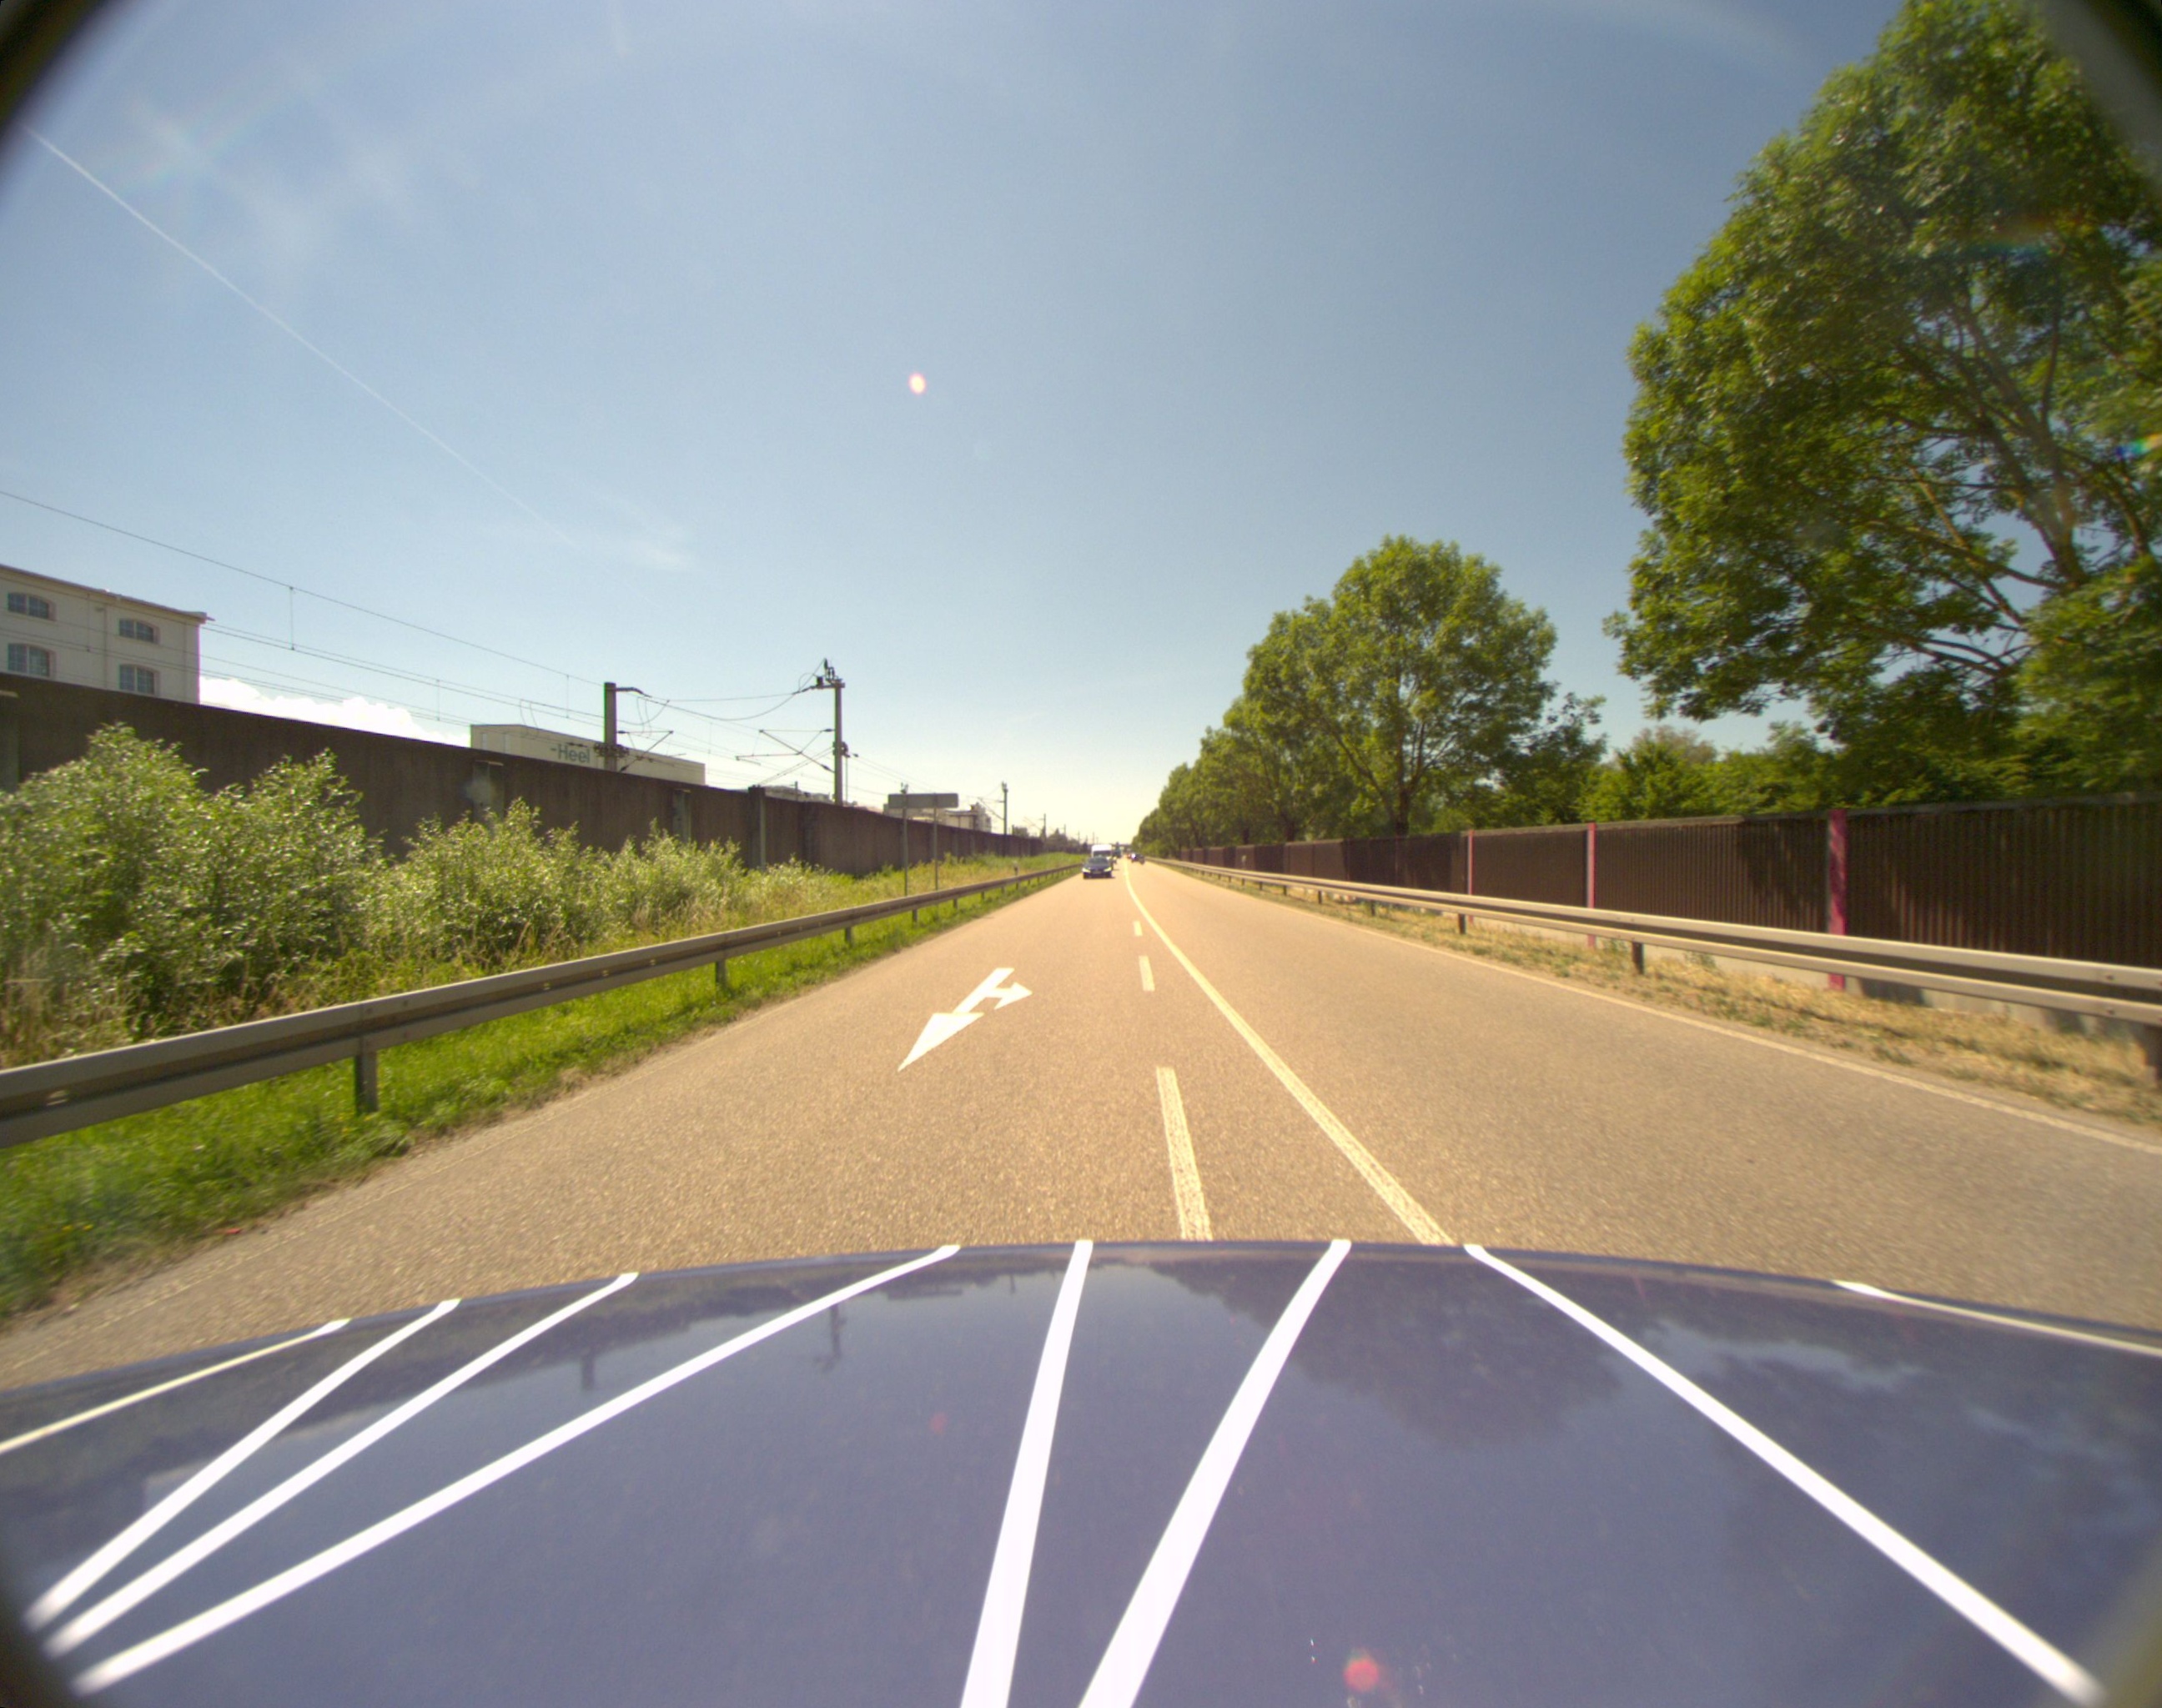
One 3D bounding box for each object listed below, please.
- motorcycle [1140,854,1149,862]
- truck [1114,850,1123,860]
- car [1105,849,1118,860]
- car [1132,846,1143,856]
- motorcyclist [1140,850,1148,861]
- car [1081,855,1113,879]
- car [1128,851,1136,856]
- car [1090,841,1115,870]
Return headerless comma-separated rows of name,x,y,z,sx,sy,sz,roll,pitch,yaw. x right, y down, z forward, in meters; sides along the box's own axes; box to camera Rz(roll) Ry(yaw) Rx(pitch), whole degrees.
motorcycle,8.521,0.562,102.072,0.951,1.023,2.385,-2,0,2
truck,11.831,0.236,239.925,2.616,3.024,10.656,-1,1,2
car,4.649,0.034,115.883,1.822,1.555,4.278,-1,0,1
car,9.265,-0.491,125.106,1.757,1.499,4.529,-2,0,3
motorcyclist,8.519,0.185,102.071,0.951,1.536,1.214,-2,1,2
car,1.086,0.782,48.736,1.861,1.371,4.504,-2,0,3
car,12.834,-0.156,192.123,1.757,1.308,4.529,-2,0,3
car,2.121,0.099,74.058,2.193,2.589,6.751,-2,0,3
